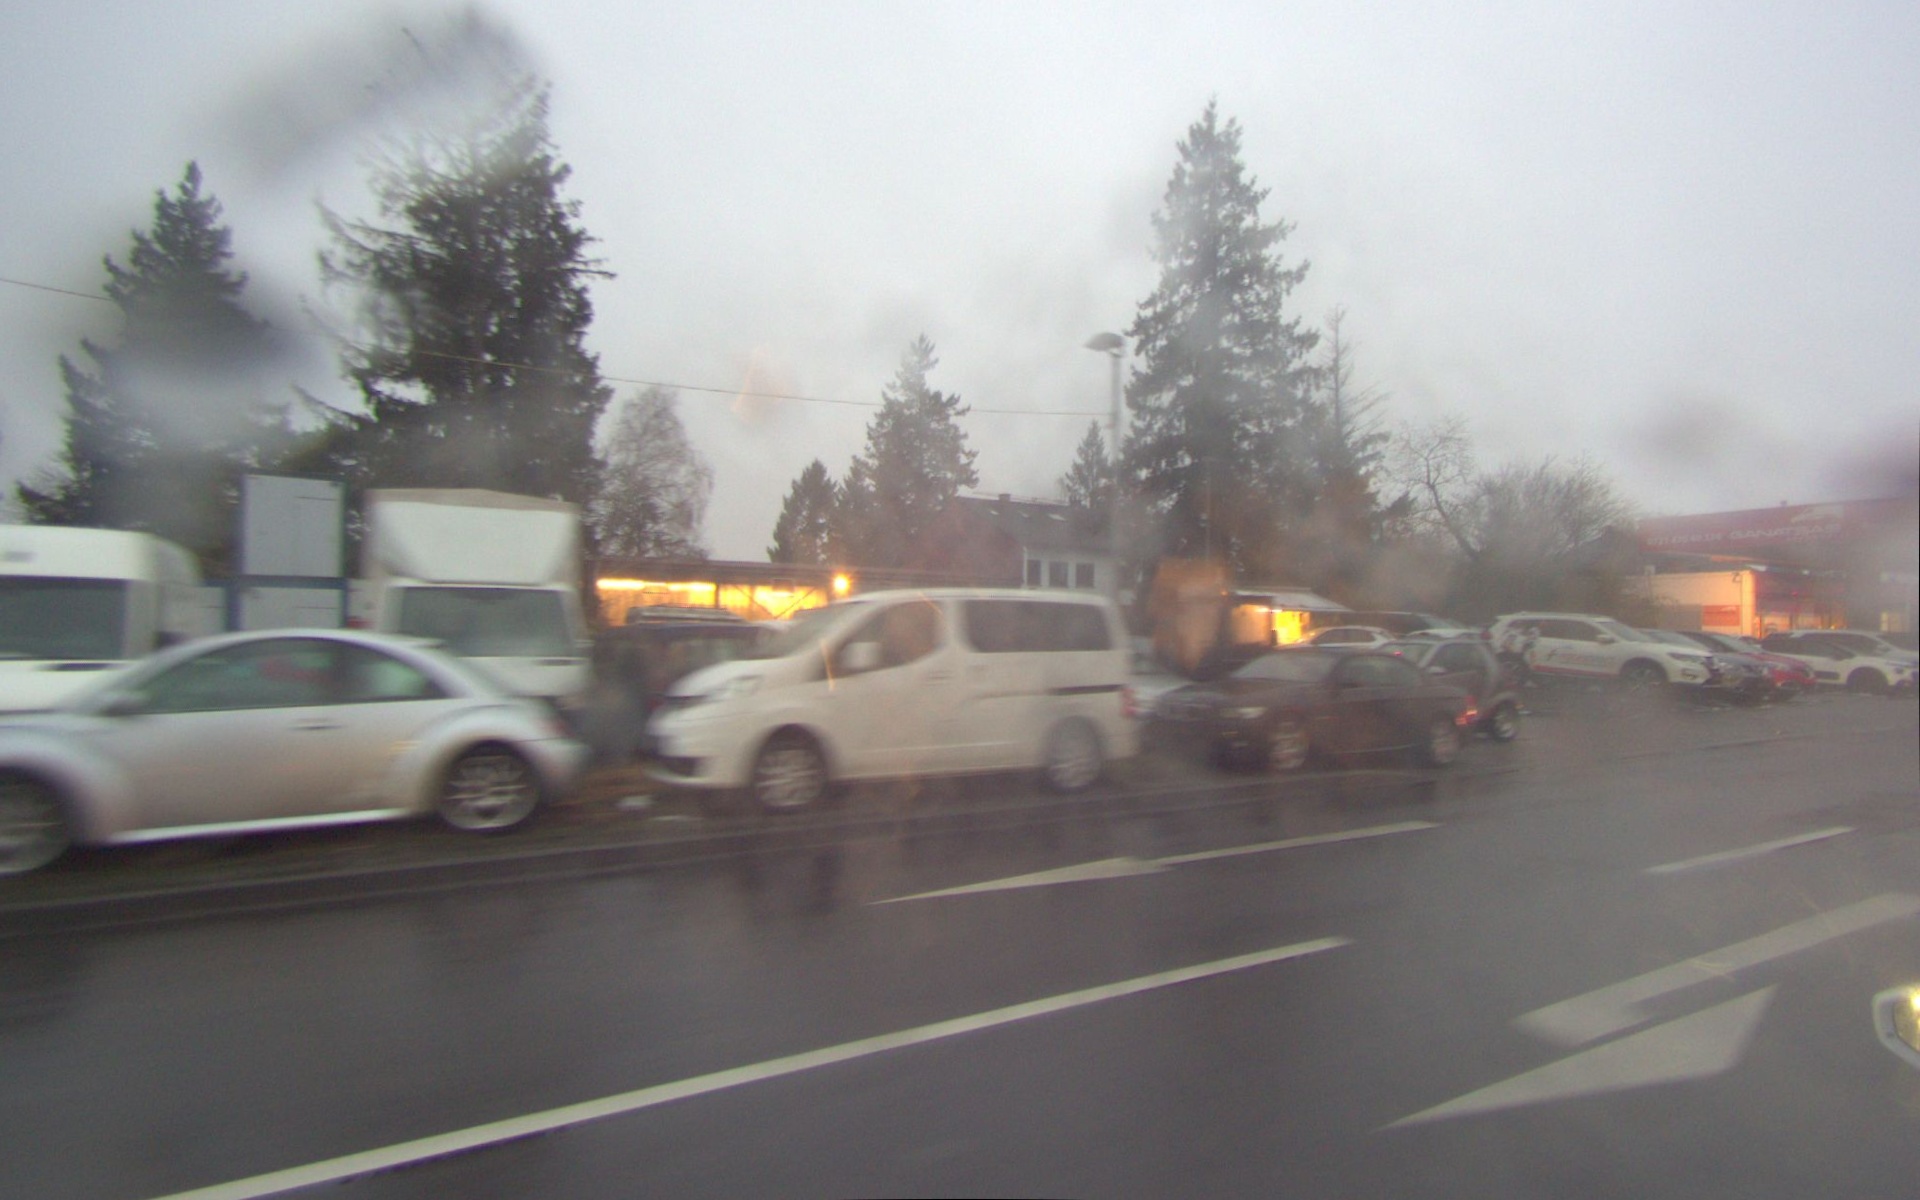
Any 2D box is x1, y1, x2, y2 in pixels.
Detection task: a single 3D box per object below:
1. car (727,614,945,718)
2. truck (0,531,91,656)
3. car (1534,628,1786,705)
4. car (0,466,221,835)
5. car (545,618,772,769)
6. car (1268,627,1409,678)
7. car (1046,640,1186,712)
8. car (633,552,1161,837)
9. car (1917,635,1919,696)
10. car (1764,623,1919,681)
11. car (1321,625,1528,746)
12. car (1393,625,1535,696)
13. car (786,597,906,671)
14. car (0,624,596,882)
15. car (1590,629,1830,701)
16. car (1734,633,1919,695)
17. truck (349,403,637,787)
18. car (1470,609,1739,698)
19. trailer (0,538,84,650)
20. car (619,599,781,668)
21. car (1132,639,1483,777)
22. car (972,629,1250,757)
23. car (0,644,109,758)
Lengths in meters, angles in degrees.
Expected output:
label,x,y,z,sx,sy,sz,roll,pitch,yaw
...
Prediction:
label,x,y,z,sx,sy,sz,roll,pitch,yaw
car,-2.060,0.928,15.638,1.795,1.396,4.025,1,-1,-33
truck,-22.458,-0.142,24.076,2.219,2.732,4.663,1,-1,-44
car,15.732,1.430,22.831,1.969,1.518,4.320,1,-1,-27
car,-8.812,0.438,9.681,2.171,2.673,6.000,1,-2,-31
car,-4.336,1.150,14.024,2.003,1.755,4.025,1,-1,-33
car,11.100,1.524,29.648,3.550,1.402,1.675,1,-1,3
car,3.606,1.742,23.570,1.339,1.569,3.132,1,-3,-39
car,-0.497,0.740,9.083,4.428,2.040,1.827,1,-1,-29
car,26.428,1.687,26.064,2.980,1.563,1.511,1,-3,-31
car,27.760,1.558,31.119,1.917,1.672,4.032,1,-2,-28
car,6.900,1.220,14.934,2.828,1.666,1.170,1,-2,-22
car,13.074,1.515,26.010,3.666,1.699,1.660,1,-2,-32
car,-3.902,1.107,33.918,2.246,2.311,4.200,1,-1,-37
car,-4.617,0.886,6.912,3.792,1.431,1.643,1,-2,-29
car,17.918,1.482,24.218,1.803,1.518,4.317,1,-1,-29
car,24.090,1.716,27.894,1.756,1.479,3.751,1,0,-32
truck,-5.800,0.036,11.865,2.307,3.183,6.825,1,-2,-31
car,13.762,1.064,21.709,1.989,1.699,4.507,1,-1,-33
trailer,-26.496,-0.141,28.358,2.205,2.709,10.371,1,-1,-43
car,-9.172,1.178,35.681,5.235,2.292,1.981,1,-2,-35
car,4.093,1.200,11.586,4.211,1.338,1.562,3,-4,-32
car,1.915,1.239,13.944,1.789,1.496,3.893,1,-4,-30
car,-13.207,1.290,12.860,3.307,1.386,1.597,1,-2,-33
